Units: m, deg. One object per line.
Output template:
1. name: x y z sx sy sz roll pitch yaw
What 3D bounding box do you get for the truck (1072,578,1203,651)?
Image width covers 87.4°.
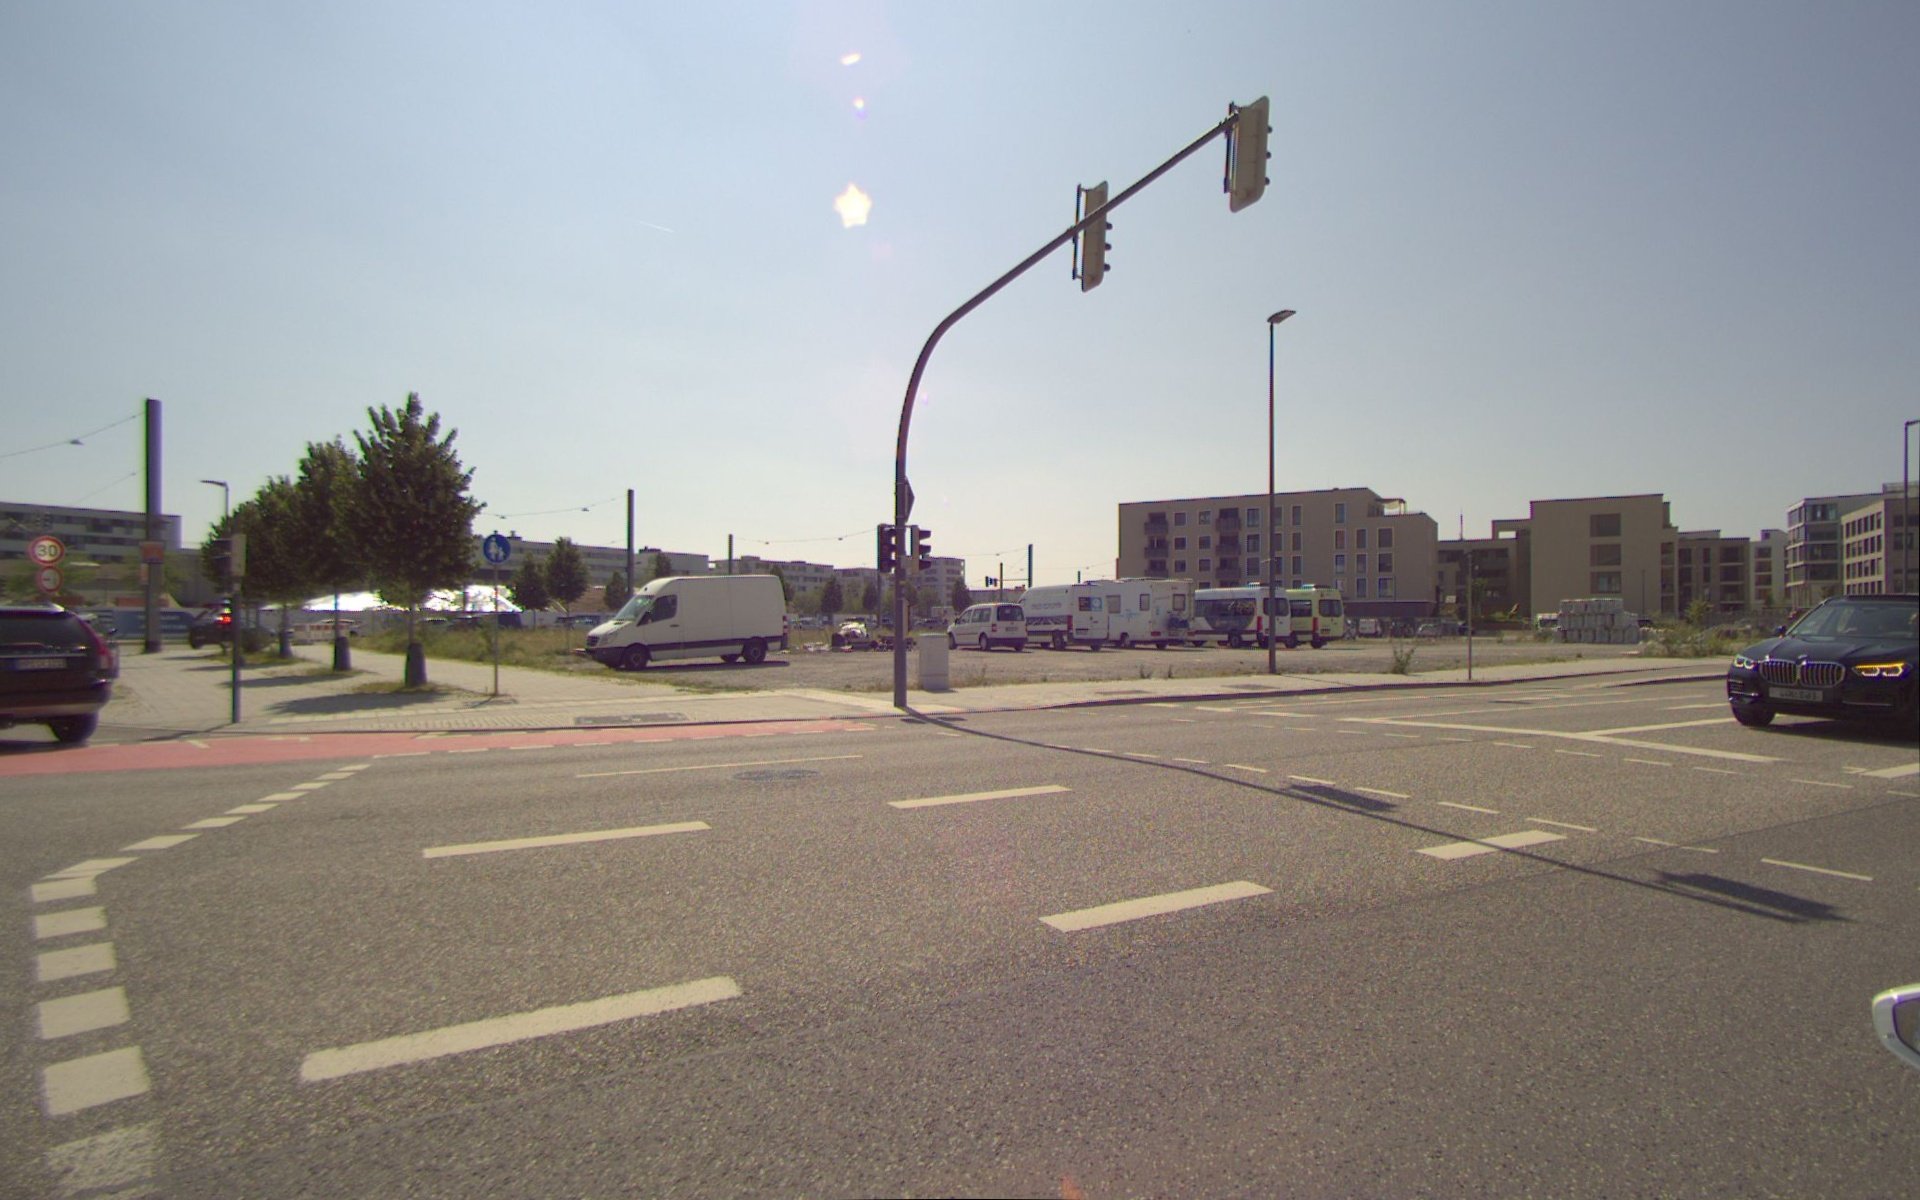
1. truck: 7.613 0.552 43.816 2.536 2.940 6.126 2 0 -25

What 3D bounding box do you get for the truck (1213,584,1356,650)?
1. truck: 15.068 0.744 47.180 2.568 2.863 6.615 1 0 -26

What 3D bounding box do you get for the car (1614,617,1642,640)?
1. car: 57.044 2.386 85.787 1.967 1.873 3.987 0 0 34

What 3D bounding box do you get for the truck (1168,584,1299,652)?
1. truck: 12.231 0.743 45.396 2.536 2.862 5.817 2 0 -25

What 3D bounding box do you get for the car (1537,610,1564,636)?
1. car: 52.705 2.034 89.683 1.964 2.271 3.993 0 0 28

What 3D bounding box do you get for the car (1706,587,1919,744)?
1. car: 12.369 0.743 13.555 4.597 1.813 1.931 0 1 -28

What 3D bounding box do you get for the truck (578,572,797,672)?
1. truck: -7.952 0.653 29.696 5.894 2.690 2.149 1 -1 -39

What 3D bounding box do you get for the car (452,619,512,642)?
1. car: -37.794 2.408 79.569 1.791 1.709 3.993 1 0 30

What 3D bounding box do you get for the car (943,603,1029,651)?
1. car: 0.968 1.019 39.582 1.637 1.782 3.848 0 0 -29

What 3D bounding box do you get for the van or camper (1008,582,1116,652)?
1. van or camper: 4.098 0.645 41.445 2.230 2.697 4.883 0 0 -26
